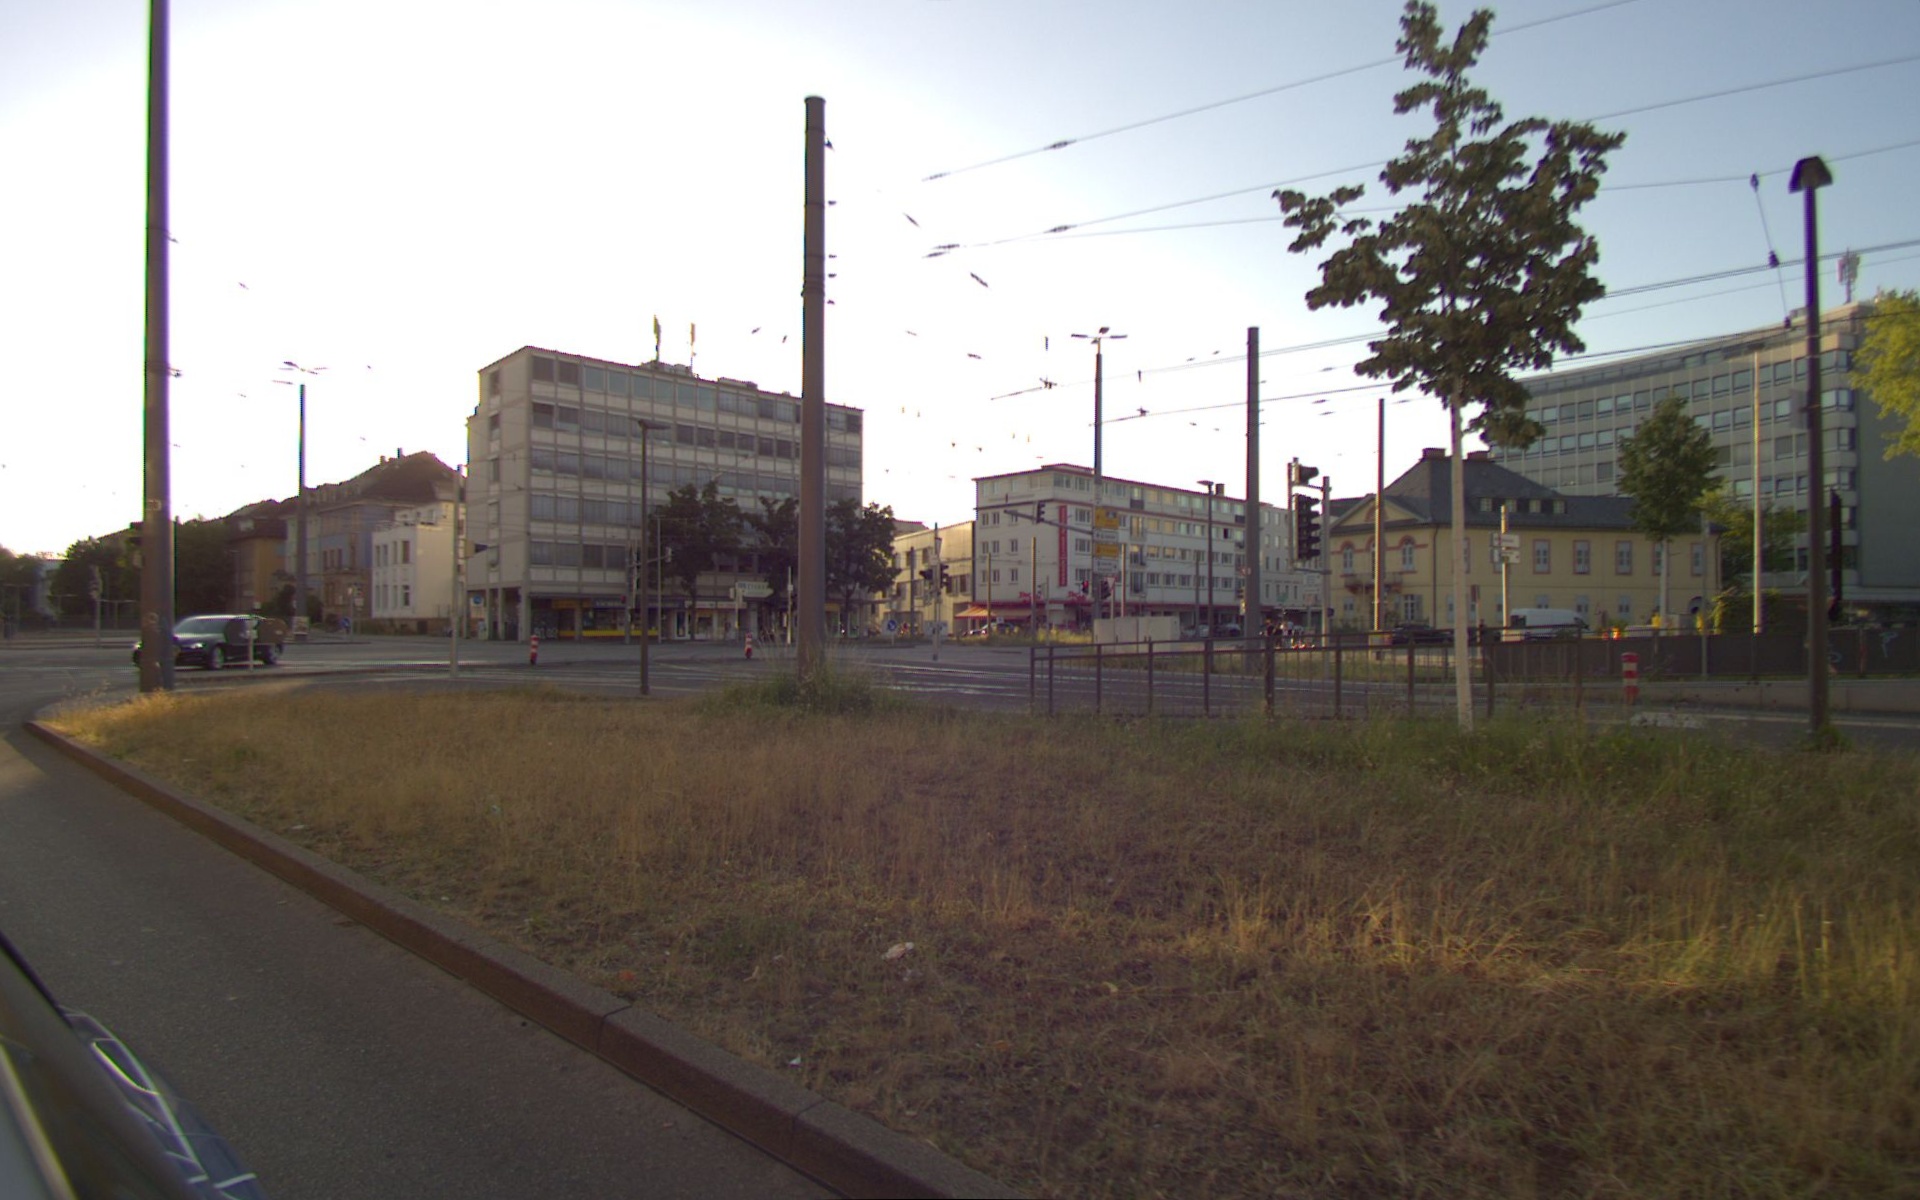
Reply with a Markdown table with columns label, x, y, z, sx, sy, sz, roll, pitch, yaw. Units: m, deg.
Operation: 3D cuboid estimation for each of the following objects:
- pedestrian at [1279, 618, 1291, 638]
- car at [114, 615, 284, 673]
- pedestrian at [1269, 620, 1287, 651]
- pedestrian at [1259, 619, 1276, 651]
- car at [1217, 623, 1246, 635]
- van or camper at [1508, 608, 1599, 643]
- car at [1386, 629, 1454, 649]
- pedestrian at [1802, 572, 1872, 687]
| label | x | y | z | sx | sy | sz | roll | pitch | yaw |
| --- | --- | --- | --- | --- | --- | --- | --- | --- | --- |
| pedestrian | 25.201 | 2.186 | 78.450 | 0.645 | 1.521 | 0.591 | 3 | -3 | -43 |
| car | -20.403 | 1.158 | 27.381 | 1.823 | 1.418 | 4.231 | 0 | -2 | -7 |
| pedestrian | 15.288 | 1.709 | 48.714 | 0.645 | 1.521 | 0.591 | 3 | -3 | -45 |
| pedestrian | 14.994 | 1.713 | 49.344 | 0.645 | 1.521 | 0.591 | 3 | -3 | -45 |
| car | 28.359 | 3.051 | 105.765 | 1.566 | 1.286 | 3.376 | -1 | -2 | 42 |
| van or camper | 39.732 | 1.710 | 67.784 | 5.036 | 2.319 | 2.003 | 0 | -2 | -7 |
| car | 29.804 | 2.494 | 65.594 | 3.529 | 1.286 | 1.856 | 0 | -2 | -11 |
| pedestrian | 14.207 | 0.470 | 16.392 | 0.817 | 1.812 | 0.686 | -1 | -1 | 43 |
